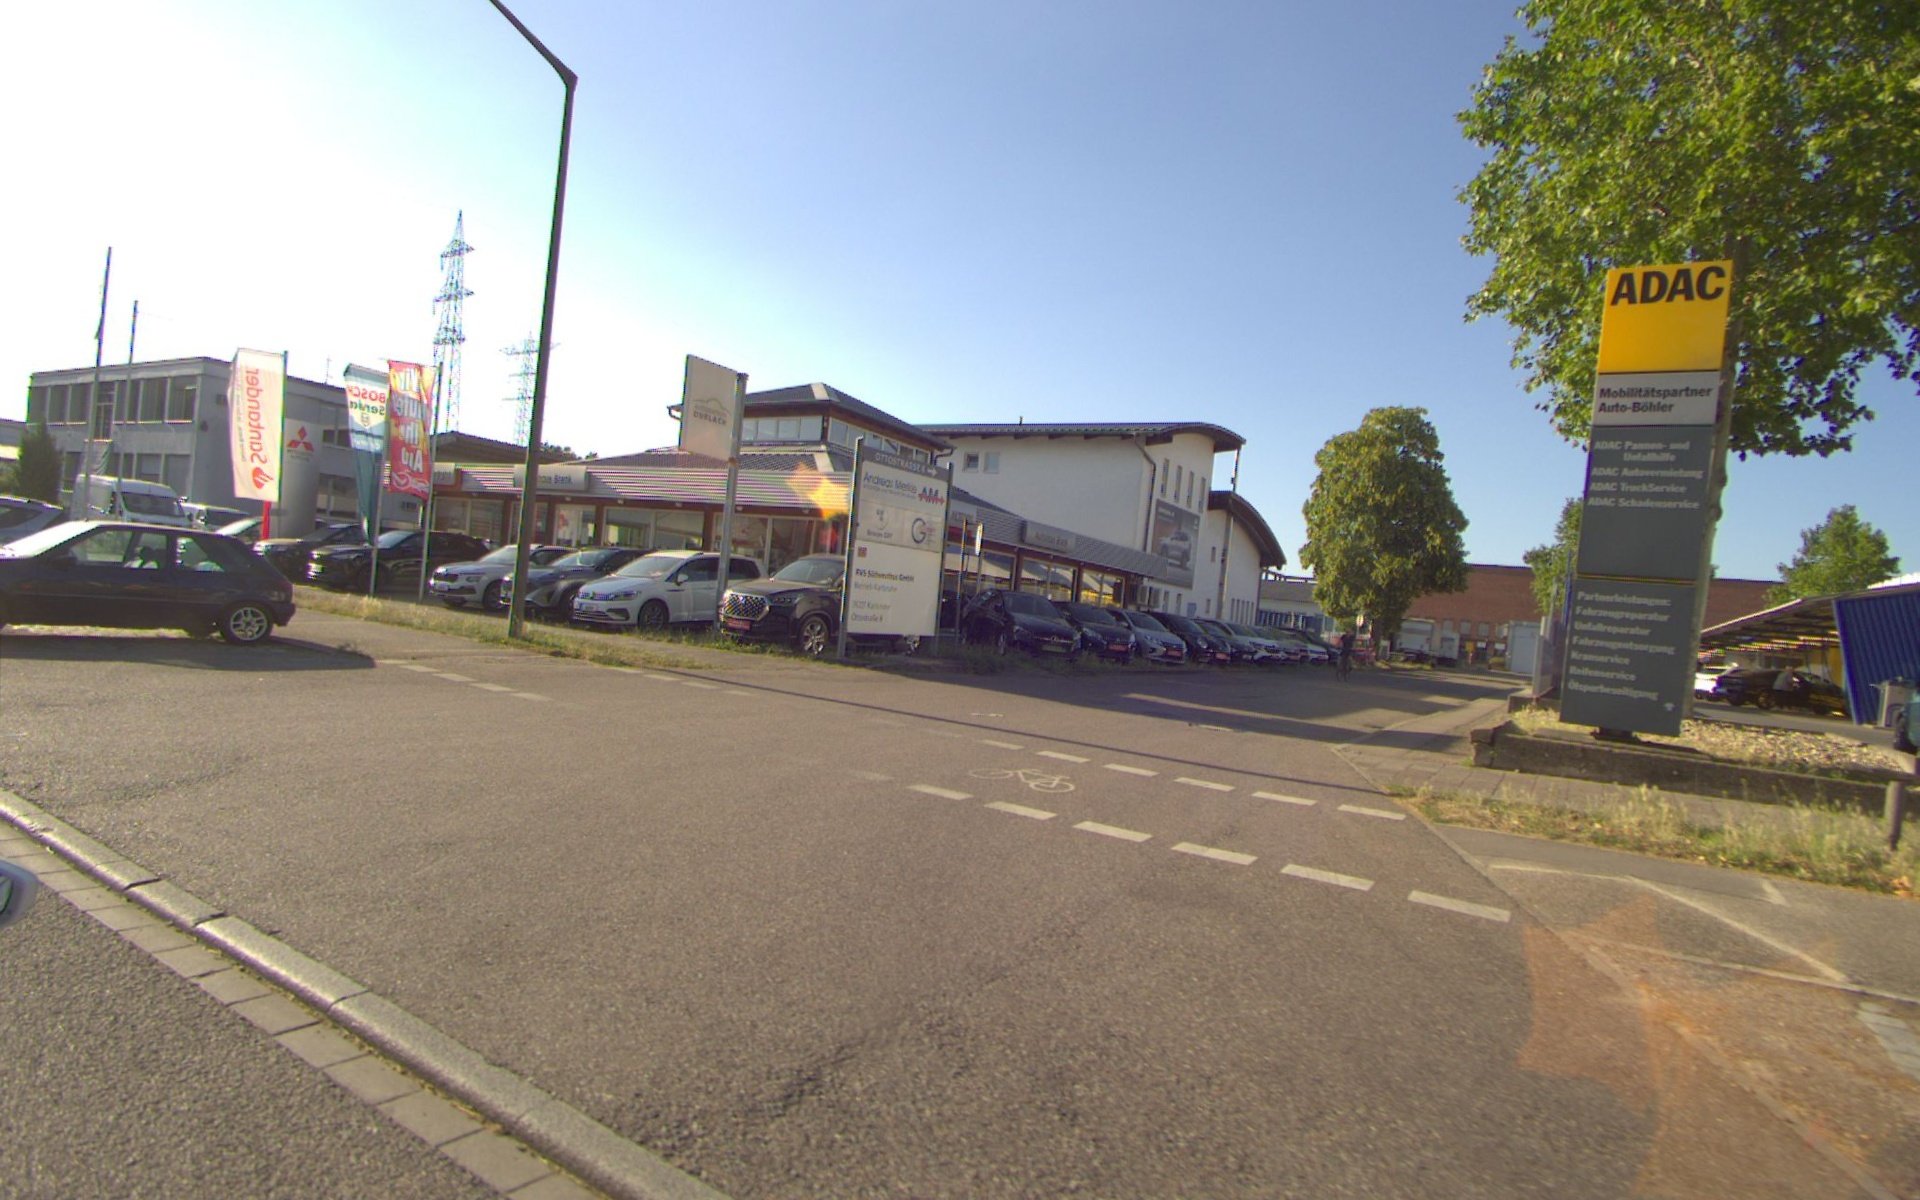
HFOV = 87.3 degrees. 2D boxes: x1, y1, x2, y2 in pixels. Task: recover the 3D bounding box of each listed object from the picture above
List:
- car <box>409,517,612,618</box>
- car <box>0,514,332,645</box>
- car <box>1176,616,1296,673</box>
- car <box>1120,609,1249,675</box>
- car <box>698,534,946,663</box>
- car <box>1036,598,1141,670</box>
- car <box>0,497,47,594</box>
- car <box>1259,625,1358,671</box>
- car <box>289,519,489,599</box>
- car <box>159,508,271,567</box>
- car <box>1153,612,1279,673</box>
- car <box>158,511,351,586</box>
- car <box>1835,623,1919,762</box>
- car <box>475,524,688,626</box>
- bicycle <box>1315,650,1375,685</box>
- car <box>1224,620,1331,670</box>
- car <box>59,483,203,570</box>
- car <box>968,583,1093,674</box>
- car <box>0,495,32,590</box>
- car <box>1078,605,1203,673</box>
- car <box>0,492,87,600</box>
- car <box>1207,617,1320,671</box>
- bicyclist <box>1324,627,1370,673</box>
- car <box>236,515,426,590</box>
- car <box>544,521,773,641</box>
[{"bbox_3d":[-10.308,-0.686,23.344,1.758,1.921,3.907,3,-2,31],"label":"car"},{"bbox_3d":[-9.844,-0.231,11.635,1.756,1.313,3.985,5,1,34],"label":"car"},{"bbox_3d":[10.355,1.657,38.012,1.979,1.758,3.969,7,-2,-31],"label":"car"},{"bbox_3d":[7.203,1.310,32.673,1.975,1.758,3.978,7,-2,-25],"label":"car"},{"bbox_3d":[-2.437,0.053,19.039,2.166,1.921,4.503,5,-2,31],"label":"car"},{"bbox_3d":[3.399,0.899,27.169,1.708,1.652,3.574,6,-2,-10],"label":"car"},{"bbox_3d":[-18.143,-1.103,16.574,2.024,1.638,4.115,5,0,28],"label":"car"},{"bbox_3d":[16.456,2.265,47.606,1.979,1.758,3.969,7,-2,-31],"label":"car"},{"bbox_3d":[-14.660,-1.017,26.012,1.967,1.719,3.988,5,1,32],"label":"car"},{"bbox_3d":[-28.173,-2.380,38.027,3.935,1.820,1.996,5,-2,32],"label":"car"},{"bbox_3d":[8.986,1.461,35.613,1.979,1.758,3.969,7,-2,-31],"label":"car"},{"bbox_3d":[-20.530,-1.457,29.436,1.967,1.794,4.145,5,1,32],"label":"car"},{"bbox_3d":[11.795,1.142,11.303,1.965,1.537,3.997,5,-2,28],"label":"car"},{"bbox_3d":[-8.197,-0.525,22.058,2.165,1.925,3.798,6,3,32],"label":"car"},{"bbox_3d":[13.100,2.308,34.148,1.189,0.932,3.302,5,-2,33],"label":"bicycle"},{"bbox_3d":[13.621,1.912,43.354,1.979,1.758,3.969,7,-2,-31],"label":"car"},{"bbox_3d":[-29.809,-2.682,36.120,6.037,2.656,1.996,5,-1,32],"label":"car"},{"bbox_3d":[1.557,0.667,23.692,1.965,1.758,3.997,6,-2,-8],"label":"car"},{"bbox_3d":[-19.758,-1.310,18.035,1.851,1.760,4.119,5,-2,28],"label":"car"},{"bbox_3d":[5.234,1.112,29.556,1.718,1.652,3.412,6,-2,-30],"label":"car"},{"bbox_3d":[-15.912,-0.942,14.960,1.835,1.608,3.991,5,1,28],"label":"car"},{"bbox_3d":[12.238,1.757,40.745,1.979,1.758,3.969,7,-2,-31],"label":"car"},{"bbox_3d":[13.130,1.703,34.092,1.153,1.424,1.158,5,-1,32],"label":"bicyclist"},{"bbox_3d":[-17.376,-1.279,27.951,1.967,1.681,3.988,5,1,32],"label":"car"},{"bbox_3d":[-6.133,-0.322,20.884,2.165,1.922,3.938,9,1,31],"label":"car"}]
